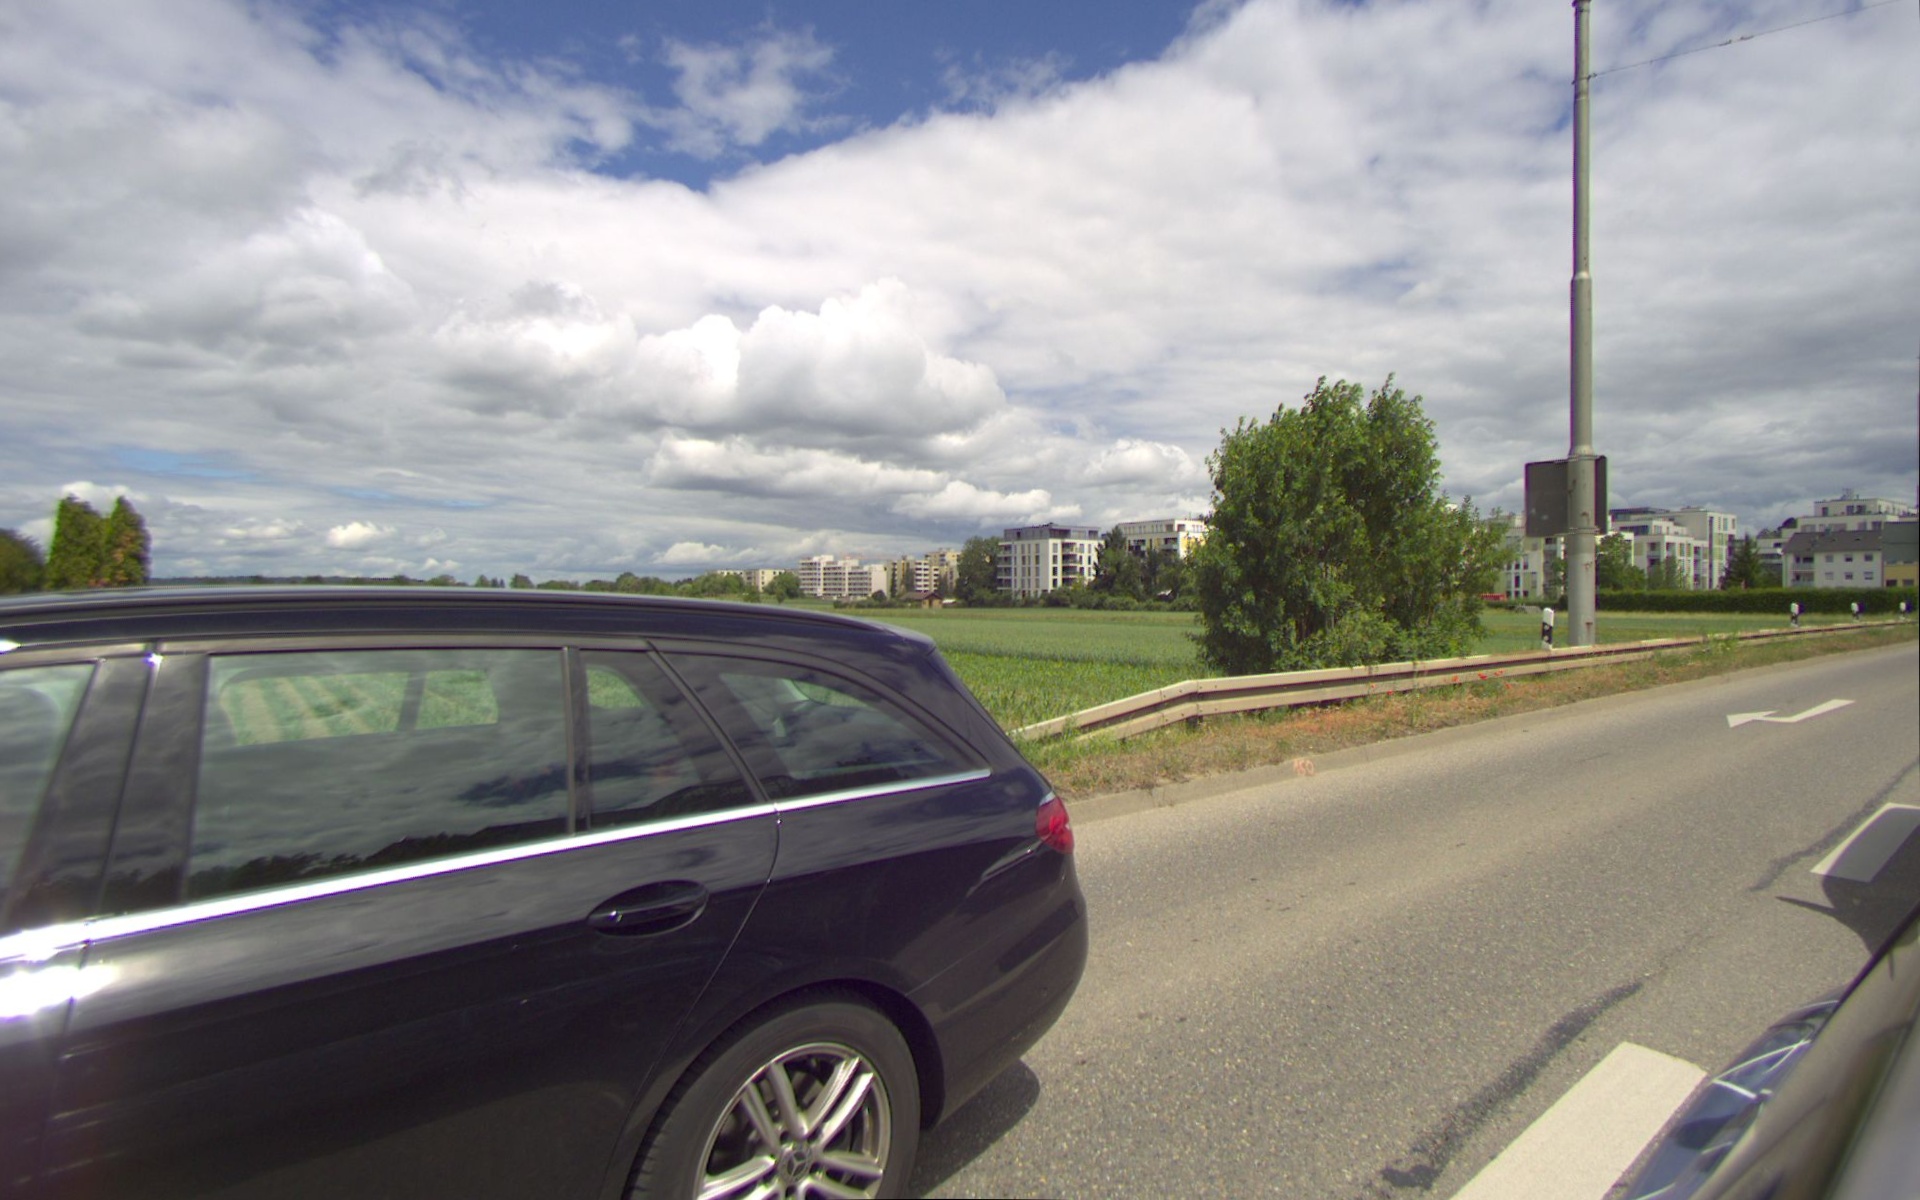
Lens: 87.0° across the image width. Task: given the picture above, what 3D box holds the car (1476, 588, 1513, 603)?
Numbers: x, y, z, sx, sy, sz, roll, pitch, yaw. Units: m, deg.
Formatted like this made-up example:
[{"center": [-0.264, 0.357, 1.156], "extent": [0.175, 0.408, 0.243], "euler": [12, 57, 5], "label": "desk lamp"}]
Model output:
[{"center": [77.660, -0.630, 147.067], "extent": [1.964, 2.039, 4.436], "euler": [-1, 1, -39], "label": "car"}]

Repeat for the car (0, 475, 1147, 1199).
[{"center": [-1.922, 0.611, 1.704], "extent": [4.720, 1.557, 1.841], "euler": [2, -1, -41], "label": "car"}]

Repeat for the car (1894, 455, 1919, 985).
[{"center": [6.376, 0.478, 4.724], "extent": [5.773, 1.942, 1.999], "euler": [1, 0, -37], "label": "car"}]
